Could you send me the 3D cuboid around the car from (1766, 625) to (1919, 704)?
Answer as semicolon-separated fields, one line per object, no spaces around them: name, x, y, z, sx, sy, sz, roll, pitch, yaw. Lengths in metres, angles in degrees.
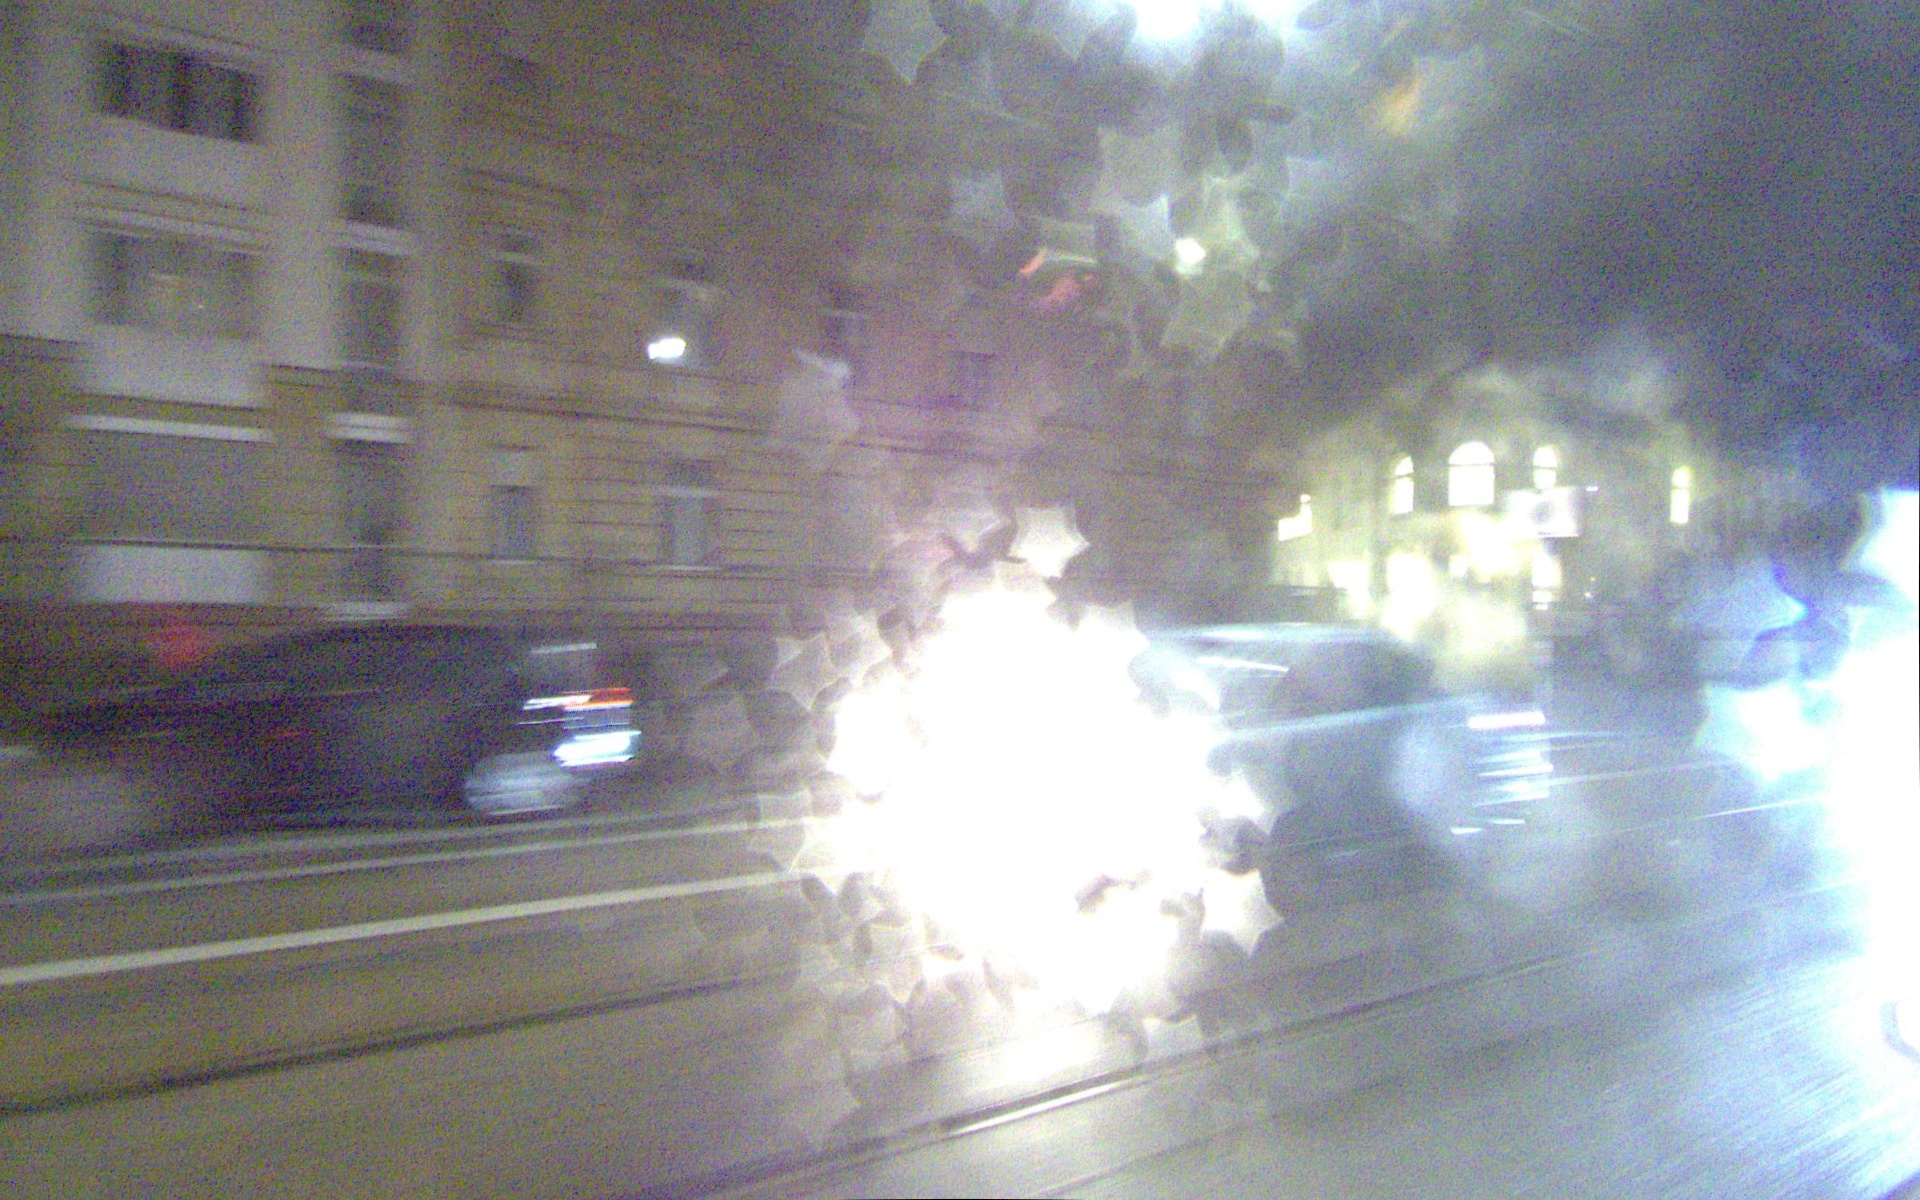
car;18.762;1.334;20.909;3.952;1.405;1.661;3;2;-29

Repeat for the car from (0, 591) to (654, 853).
car;-4.563;0.747;7.407;4.095;1.425;1.756;2;2;-32

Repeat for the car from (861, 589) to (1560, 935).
car;1.631;0.752;6.110;4.155;1.499;1.644;1;-1;-29
